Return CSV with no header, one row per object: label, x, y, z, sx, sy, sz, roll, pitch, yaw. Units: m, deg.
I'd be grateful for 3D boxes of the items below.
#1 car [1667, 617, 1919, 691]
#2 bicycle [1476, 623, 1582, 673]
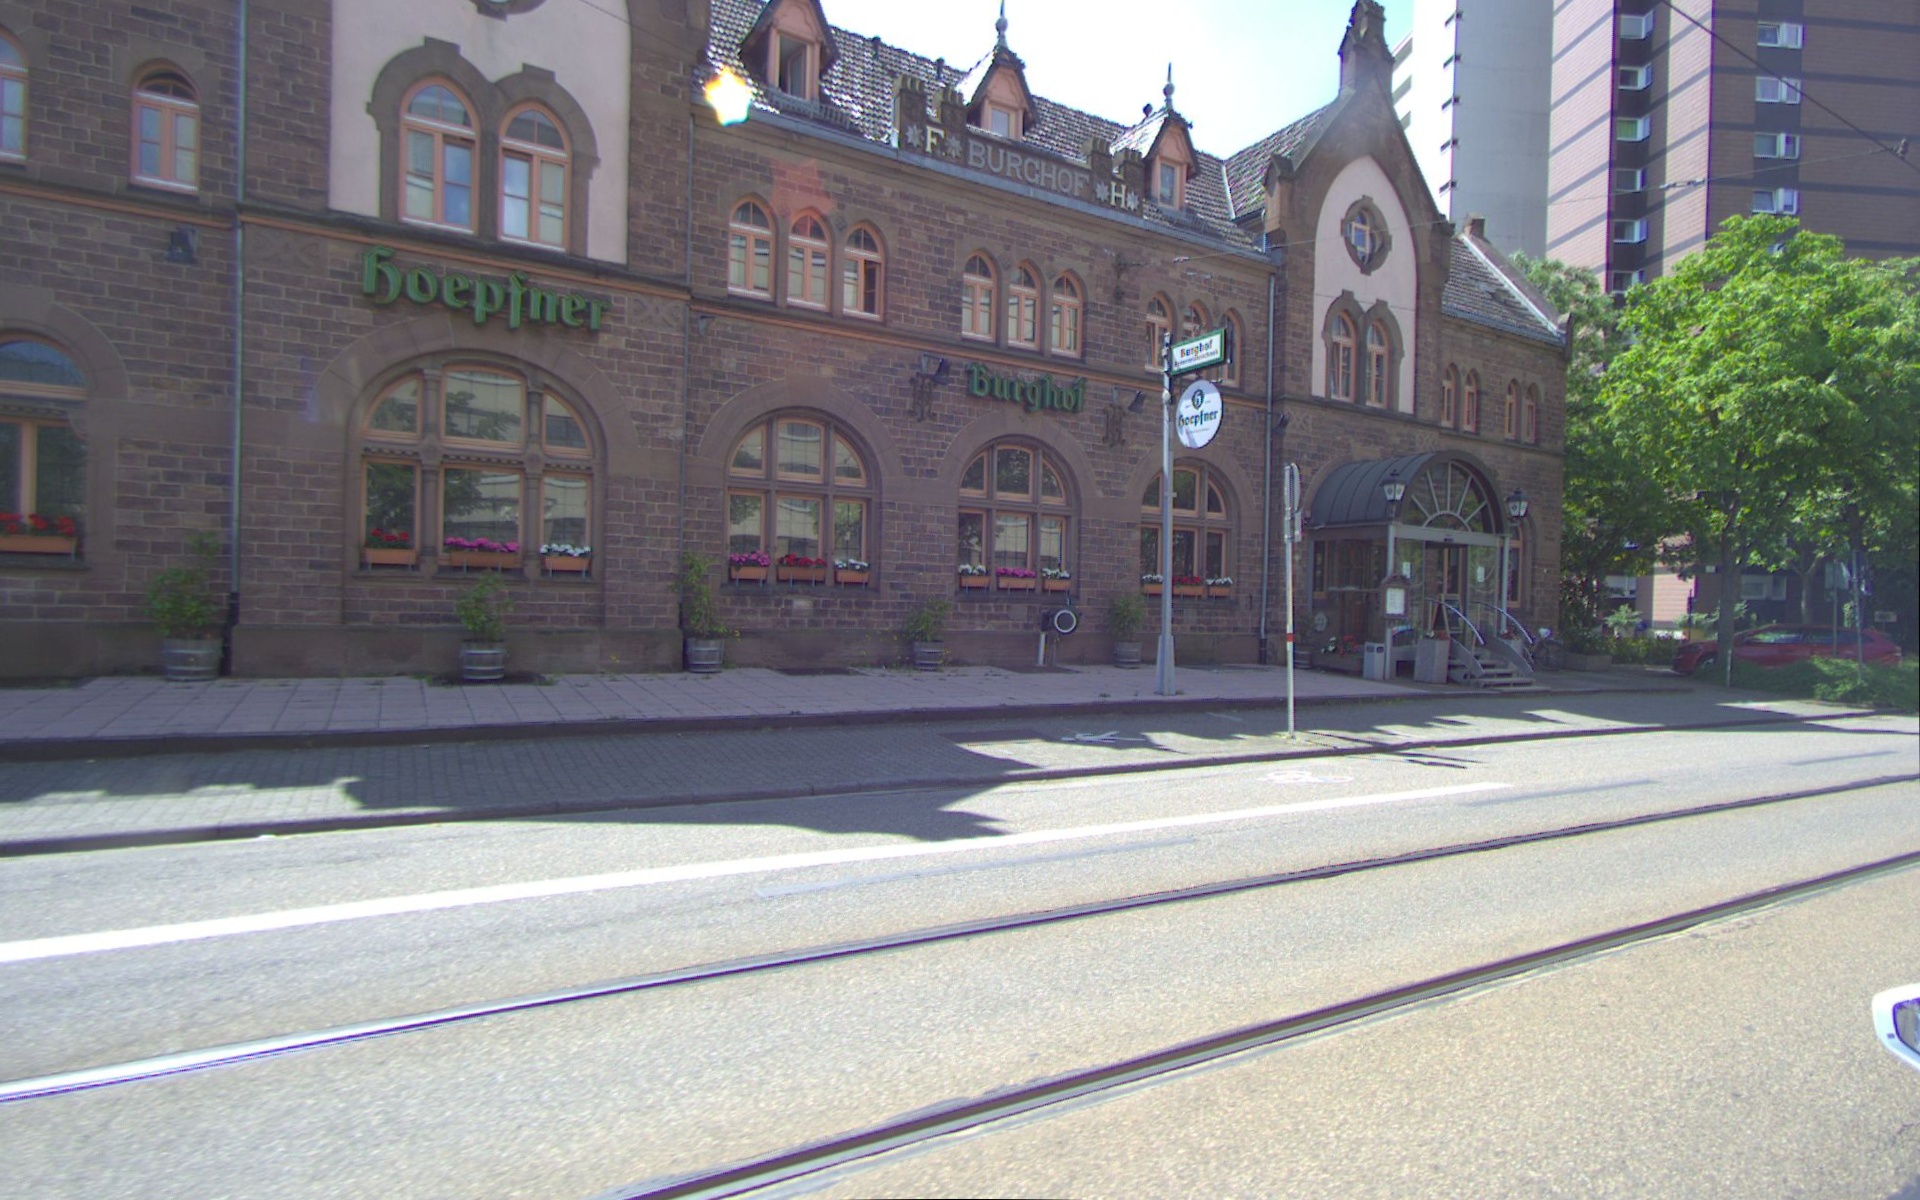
car,21.104,1.315,25.761,4.697,1.587,1.997,2,0,32
bicycle,13.023,1.079,23.023,1.974,0.903,0.594,7,4,44
